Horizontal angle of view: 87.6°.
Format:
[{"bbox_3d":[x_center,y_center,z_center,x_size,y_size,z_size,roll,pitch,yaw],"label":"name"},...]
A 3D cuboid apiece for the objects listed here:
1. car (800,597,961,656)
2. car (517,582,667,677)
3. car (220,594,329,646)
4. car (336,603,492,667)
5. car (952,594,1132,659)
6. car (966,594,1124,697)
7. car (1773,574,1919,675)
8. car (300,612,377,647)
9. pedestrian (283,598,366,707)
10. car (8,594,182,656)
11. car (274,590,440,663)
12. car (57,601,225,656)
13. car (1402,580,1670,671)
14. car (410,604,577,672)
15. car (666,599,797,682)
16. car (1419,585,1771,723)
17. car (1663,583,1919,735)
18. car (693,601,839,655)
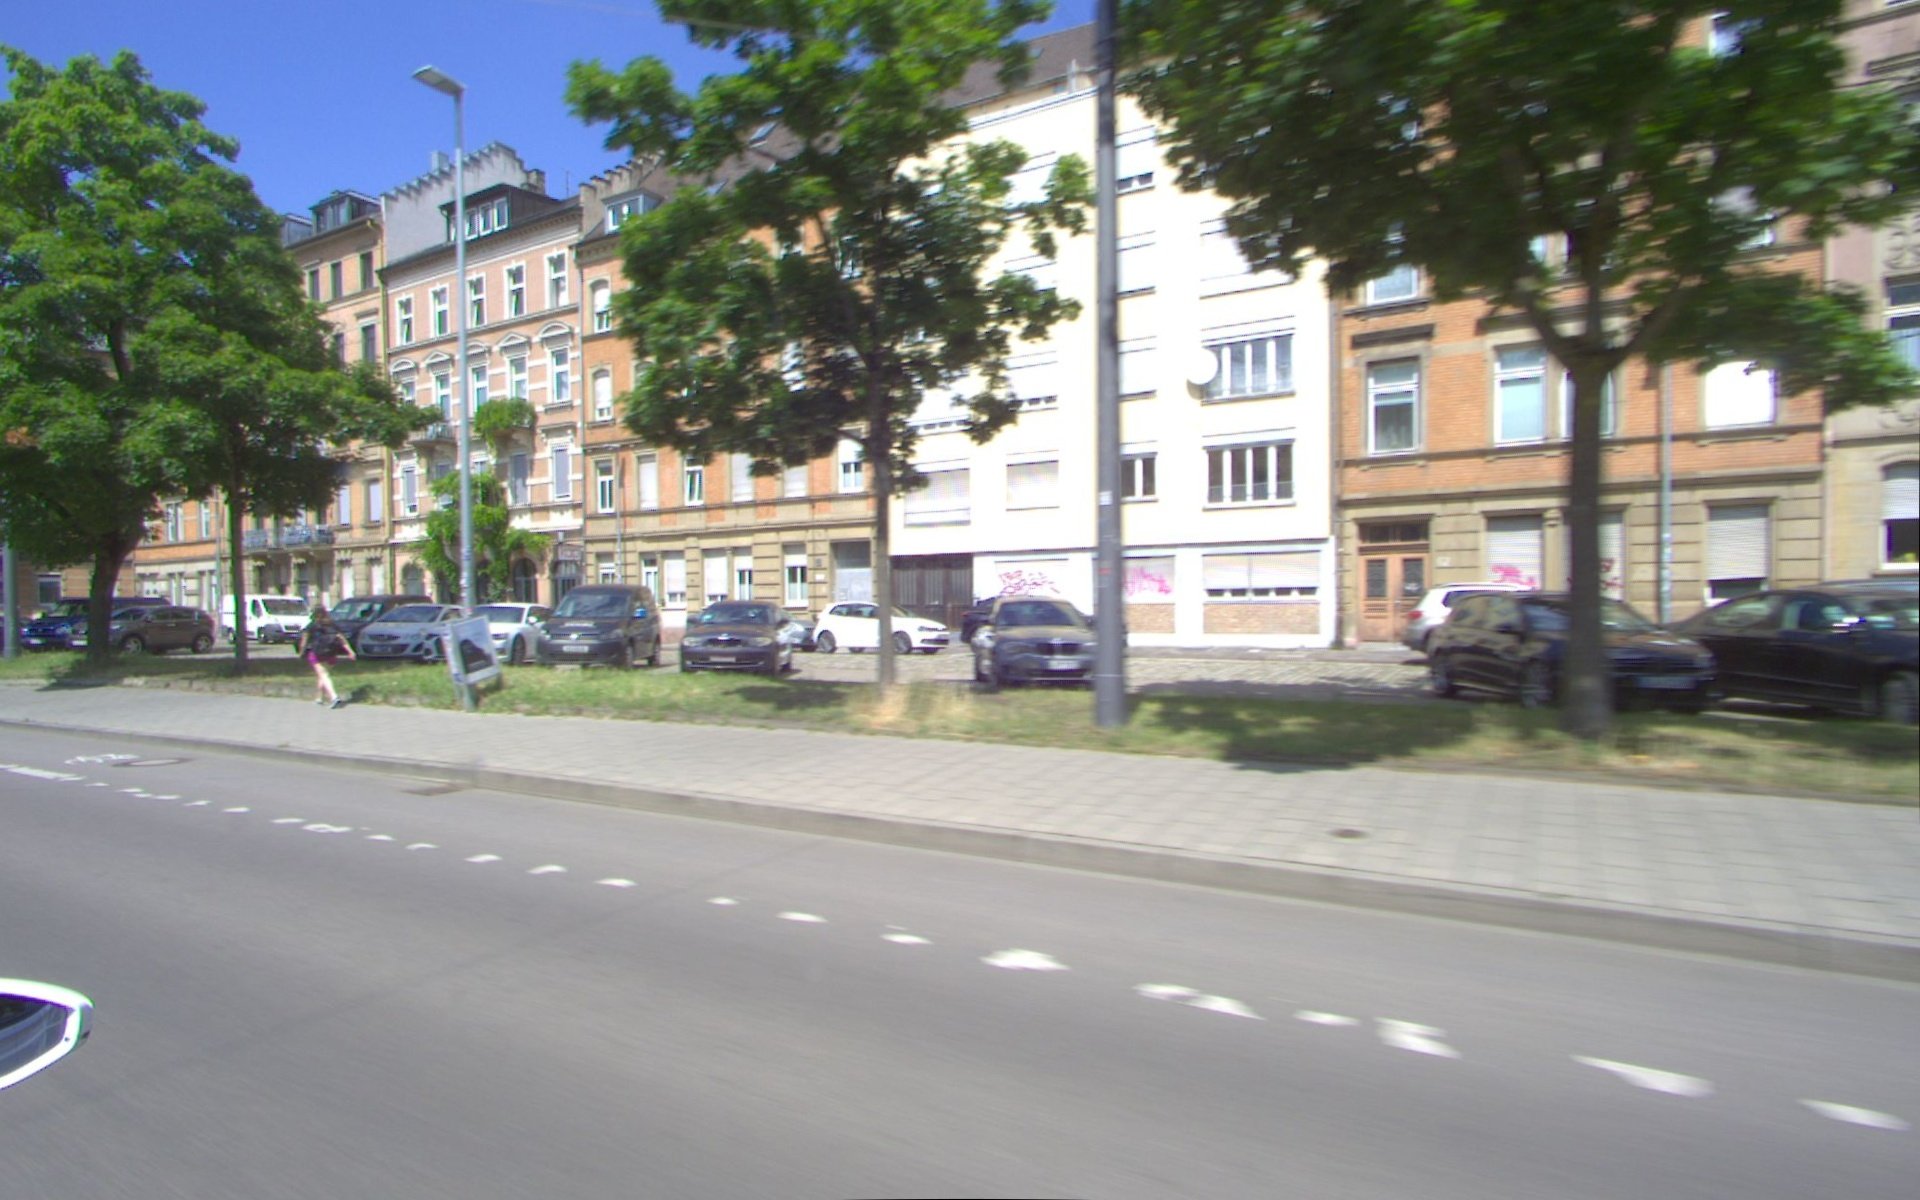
[{"bbox_3d":[-2.206,0.737,27.516,4.166,1.511,1.829,-1,-1,32],"label":"car"},{"bbox_3d":[-7.547,0.605,20.991,1.816,1.763,4.367,0,-1,-5],"label":"car"},{"bbox_3d":[-30.825,0.928,44.964,5.317,2.206,2.107,-1,-1,32],"label":"car"},{"bbox_3d":[-13.356,0.847,24.792,1.816,1.423,4.086,0,-1,-4],"label":"car"},{"bbox_3d":[2.038,0.679,25.235,4.166,1.511,1.829,-1,-1,32],"label":"car"},{"bbox_3d":[1.185,0.680,15.855,1.816,1.398,4.270,0,-1,-5],"label":"car"},{"bbox_3d":[16.473,0.397,16.625,4.435,1.636,1.827,-1,-1,35],"label":"car"},{"bbox_3d":[-26.248,1.232,42.269,3.305,1.421,1.559,-1,0,34],"label":"car"},{"bbox_3d":[-9.741,0.786,15.354,0.892,1.613,0.699,-1,2,31],"label":"pedestrian"},{"bbox_3d":[-29.245,0.852,34.079,1.879,1.952,4.631,0,-1,1],"label":"car"},{"bbox_3d":[-15.786,0.700,26.500,1.816,1.763,4.151,0,-1,1],"label":"car"},{"bbox_3d":[-26.523,0.928,32.626,1.879,1.677,4.176,-1,-1,5],"label":"car"},{"bbox_3d":[11.319,0.523,19.924,4.431,1.636,1.829,-1,-1,32],"label":"car"},{"bbox_3d":[-10.516,0.843,23.014,1.816,1.398,4.695,0,-1,-3],"label":"car"},{"bbox_3d":[-4.211,0.739,19.100,1.816,1.398,4.270,0,-1,-5],"label":"car"},{"bbox_3d":[7.394,0.605,12.227,1.923,1.398,4.001,-1,-1,4],"label":"car"},{"bbox_3d":[9.780,0.571,10.503,1.923,1.398,4.001,0,-1,-1],"label":"car"},{"bbox_3d":[-5.817,0.834,29.881,4.166,1.511,1.829,-1,-1,32],"label":"car"}]
